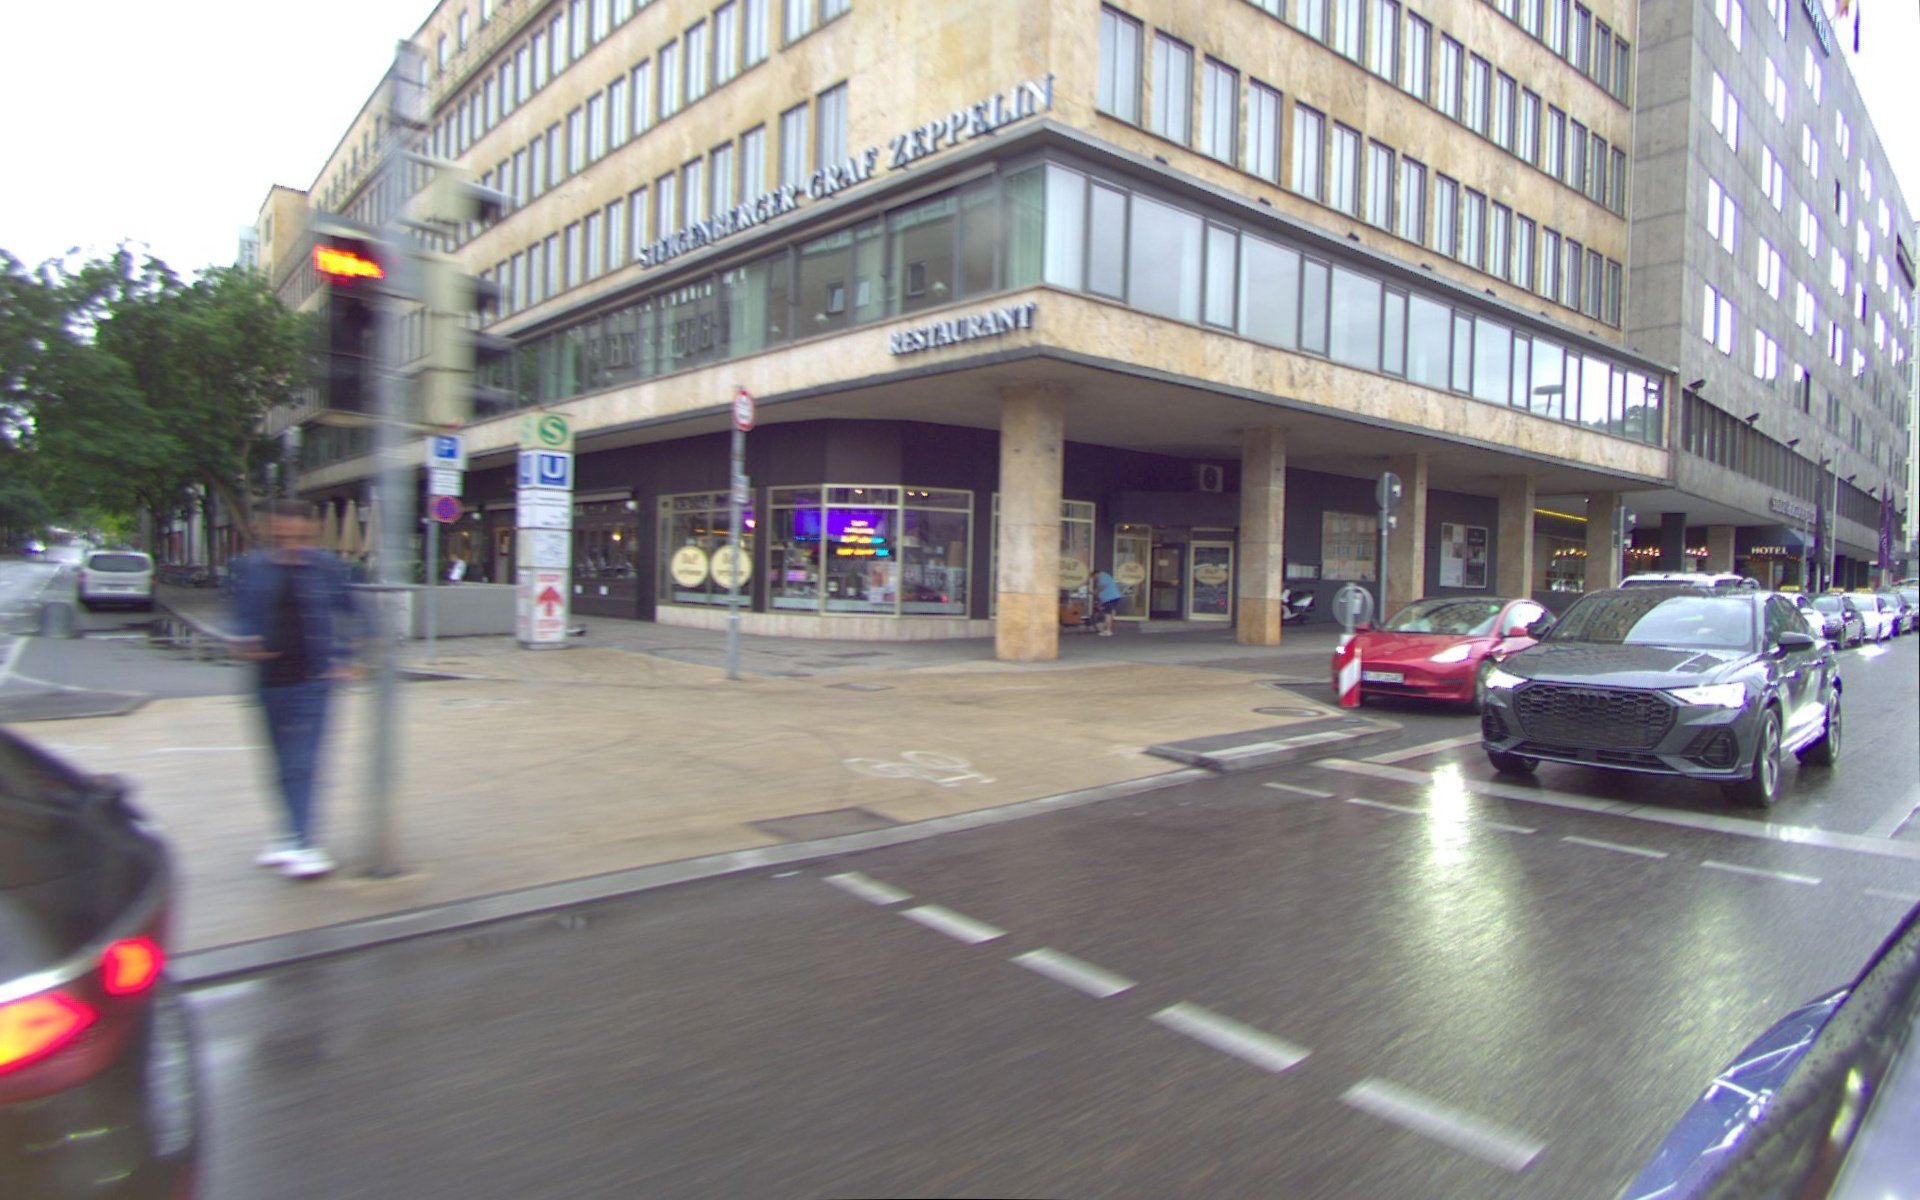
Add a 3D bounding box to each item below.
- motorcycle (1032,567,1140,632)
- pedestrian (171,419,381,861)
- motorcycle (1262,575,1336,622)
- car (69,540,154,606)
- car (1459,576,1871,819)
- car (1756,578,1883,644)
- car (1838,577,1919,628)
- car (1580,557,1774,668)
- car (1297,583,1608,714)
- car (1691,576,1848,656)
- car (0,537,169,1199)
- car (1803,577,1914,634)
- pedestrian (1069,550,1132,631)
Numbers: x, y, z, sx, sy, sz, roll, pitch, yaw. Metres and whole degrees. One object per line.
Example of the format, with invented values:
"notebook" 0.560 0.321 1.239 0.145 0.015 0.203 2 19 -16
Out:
"motorcycle" 3.079 -0.033 24.434 2.801 1.471 0.963 0 1 -41
"pedestrian" -3.355 0.169 4.962 0.779 1.943 0.674 0 1 -41
"motorcycle" 9.253 -0.055 27.576 2.492 1.246 0.730 0 1 -41
"car" -27.286 -0.845 32.491 1.965 1.950 5.157 1 1 -41
"car" 6.007 0.584 8.441 4.092 1.527 1.875 0 1 -41
"car" 23.517 0.245 27.641 4.480 1.656 1.997 0 1 -41
"car" 32.324 0.043 35.221 4.833 1.635 1.997 0 2 -41
"car" 14.150 0.172 19.845 4.910 1.908 1.997 0 1 -41
"car" 6.677 0.511 13.532 4.404 1.431 2.193 0 2 -41
"car" 19.089 0.296 23.782 5.045 1.674 1.997 0 2 -41
"car" -3.346 0.658 0.492 4.617 1.482 1.822 0 1 -41
"car" 28.014 0.123 31.503 4.791 1.629 1.997 0 2 -41
"pedestrian" 3.339 -0.241 24.133 1.089 1.870 1.001 -1 2 -39
